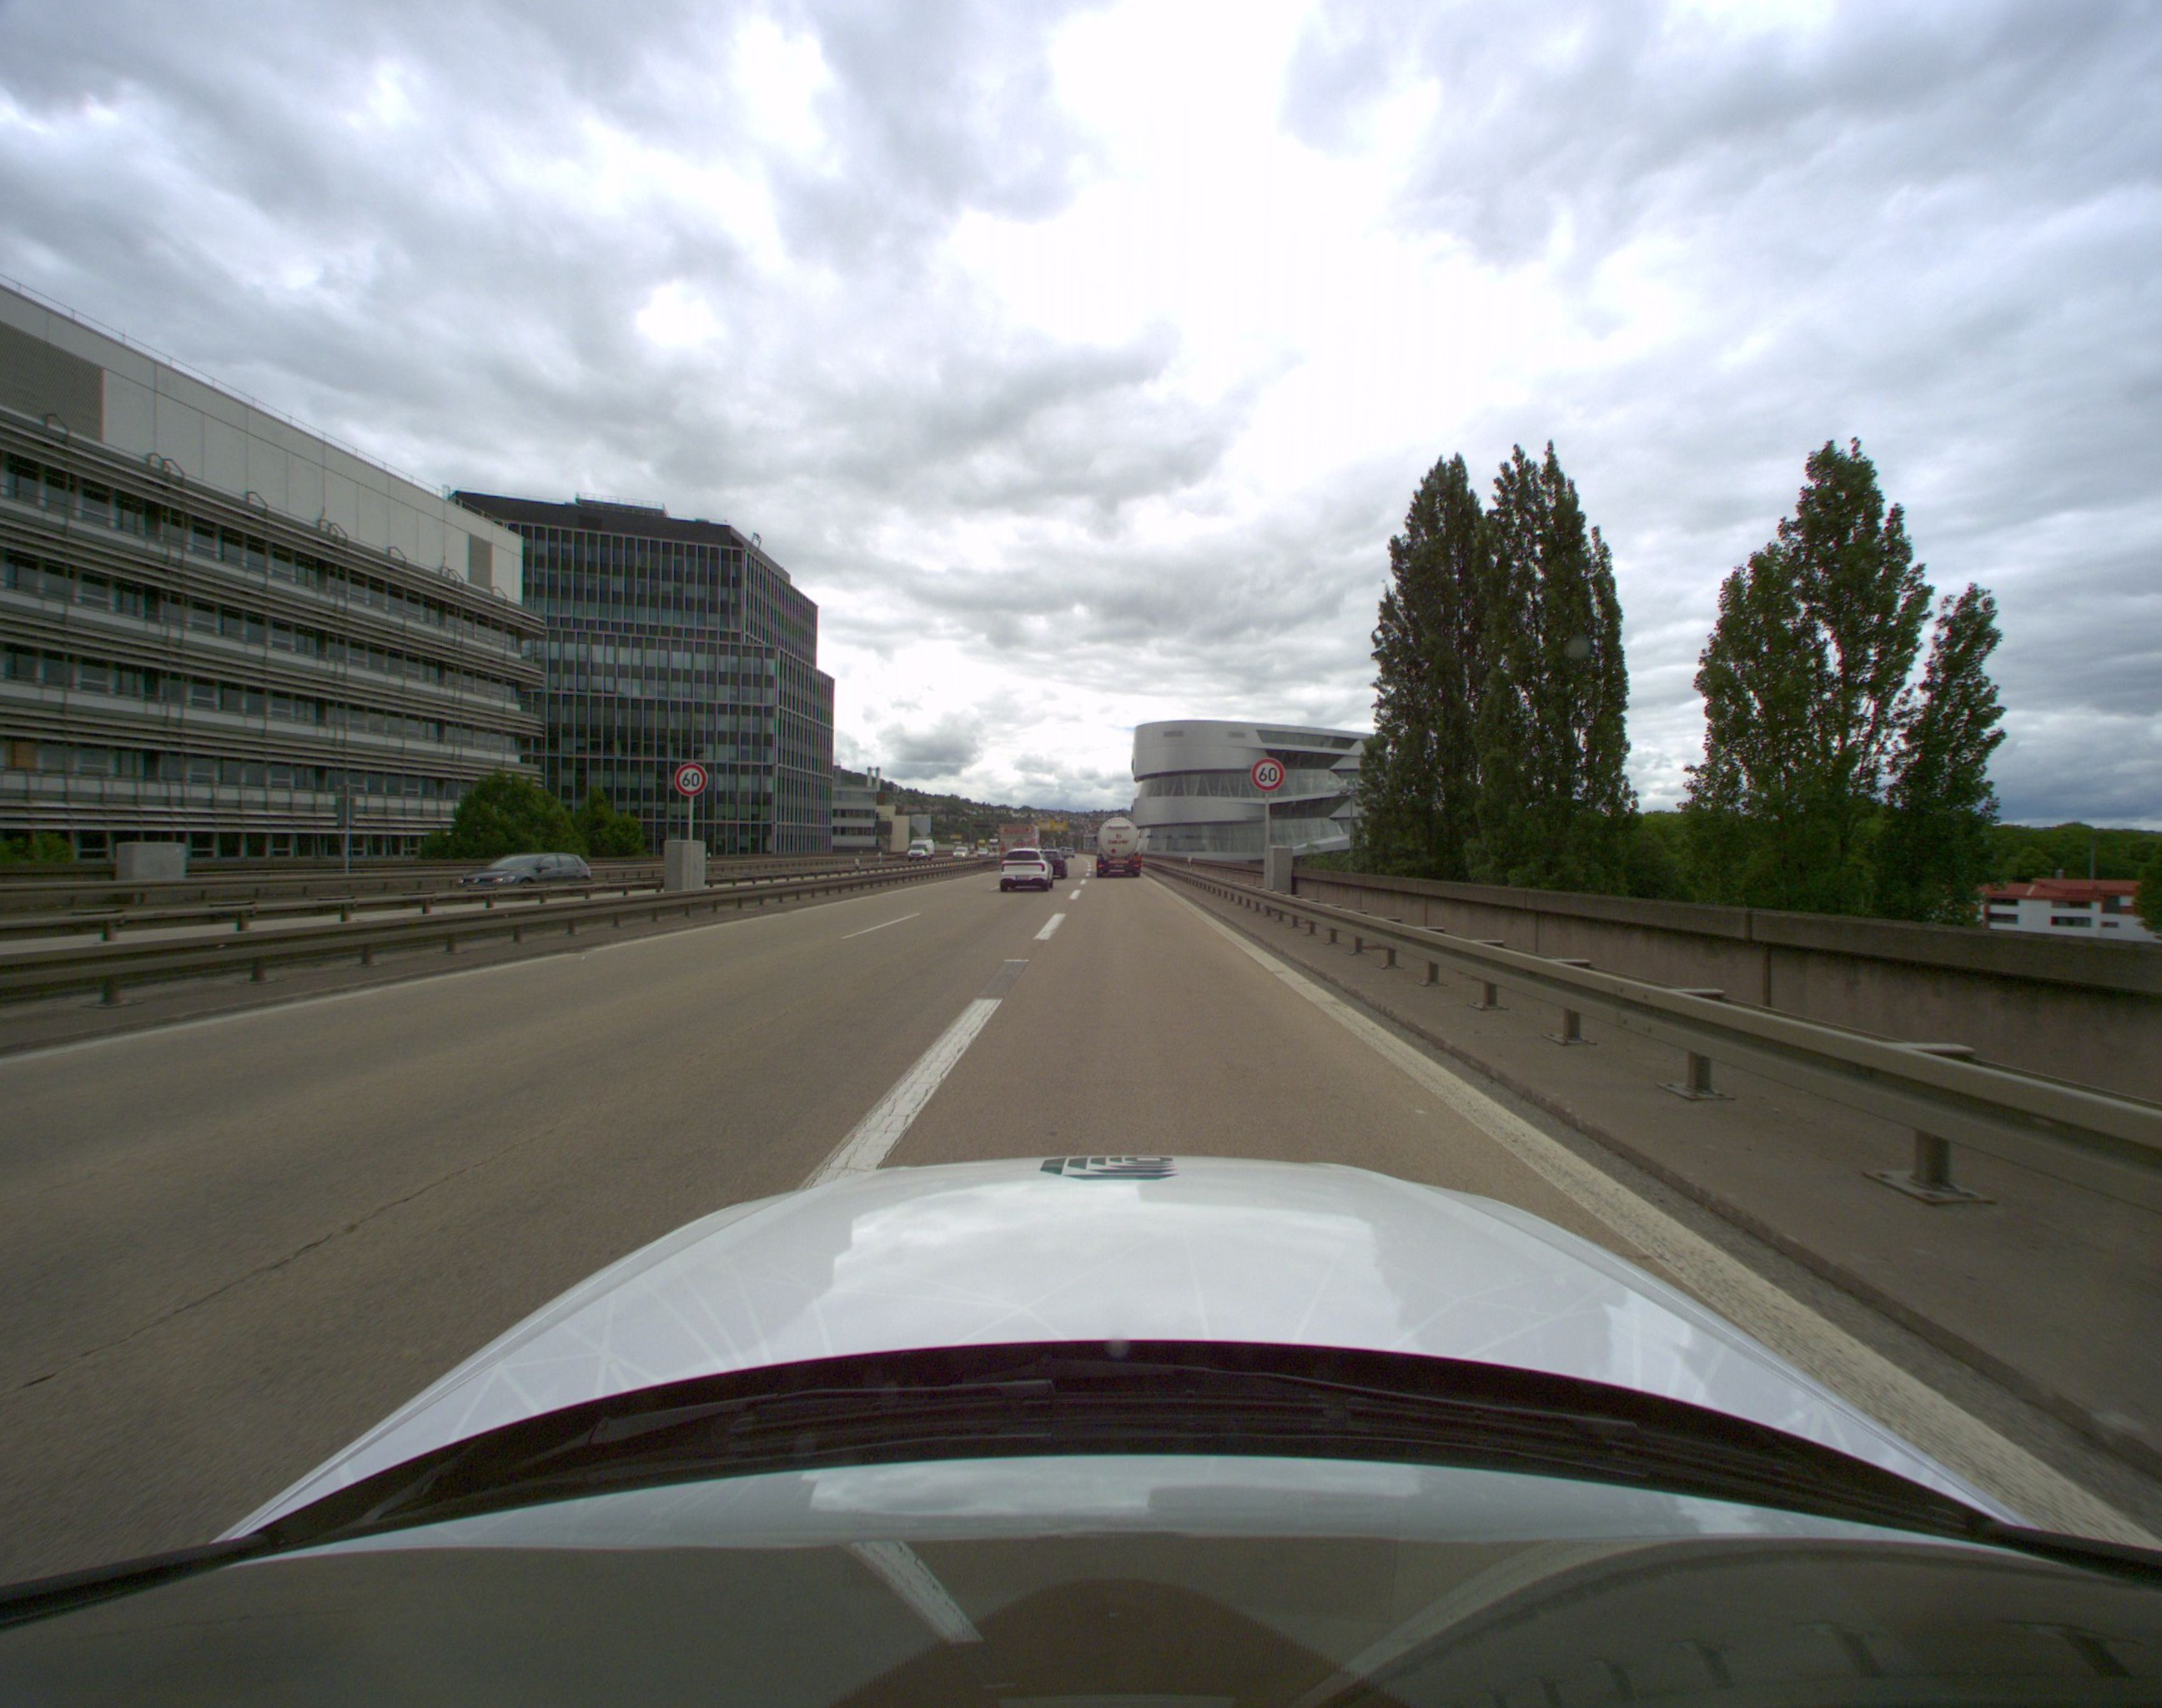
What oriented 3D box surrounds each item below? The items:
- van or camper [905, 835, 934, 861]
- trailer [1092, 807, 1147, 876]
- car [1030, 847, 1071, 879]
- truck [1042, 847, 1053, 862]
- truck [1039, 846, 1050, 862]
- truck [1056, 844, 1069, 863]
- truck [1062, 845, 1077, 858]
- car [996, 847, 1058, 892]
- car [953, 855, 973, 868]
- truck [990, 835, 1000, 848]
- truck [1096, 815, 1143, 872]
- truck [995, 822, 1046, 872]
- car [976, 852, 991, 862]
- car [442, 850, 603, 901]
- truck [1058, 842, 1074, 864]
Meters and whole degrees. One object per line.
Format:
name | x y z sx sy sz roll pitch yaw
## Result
van or camper | -19.444 -0.671 98.391 2.164 3.008 7.115 0 0 -1
trailer | 2.335 -0.675 49.452 3.045 3.790 8.308 0 0 2
car | -1.674 0.501 45.950 1.986 1.675 4.411 0 0 2
truck | -10.315 0.122 248.938 3.050 4.562 8.294 0 0 -3
truck | -10.363 0.050 231.750 3.050 4.562 8.294 0 0 -3
truck | -4.690 -0.092 202.384 3.050 4.562 8.294 0 0 -3
truck | -1.927 -0.354 137.181 2.247 2.164 5.070 0 0 1
car | -2.083 0.576 32.756 1.986 1.675 4.411 0 0 2
car | -15.093 0.913 104.387 1.676 1.650 4.314 1 0 2
truck | -26.905 -3.963 254.813 2.766 4.079 5.640 0 0 -3
truck | 2.609 -0.654 55.738 3.002 3.657 6.276 0 0 2
truck | -4.707 -0.516 65.056 3.045 3.690 8.308 0 0 2
car | -15.995 0.508 133.926 1.676 1.650 4.450 1 0 2
car | -16.711 0.603 24.672 1.779 1.377 4.232 1 0 2
truck | -3.308 -0.194 177.812 3.050 4.562 8.294 0 0 -3
